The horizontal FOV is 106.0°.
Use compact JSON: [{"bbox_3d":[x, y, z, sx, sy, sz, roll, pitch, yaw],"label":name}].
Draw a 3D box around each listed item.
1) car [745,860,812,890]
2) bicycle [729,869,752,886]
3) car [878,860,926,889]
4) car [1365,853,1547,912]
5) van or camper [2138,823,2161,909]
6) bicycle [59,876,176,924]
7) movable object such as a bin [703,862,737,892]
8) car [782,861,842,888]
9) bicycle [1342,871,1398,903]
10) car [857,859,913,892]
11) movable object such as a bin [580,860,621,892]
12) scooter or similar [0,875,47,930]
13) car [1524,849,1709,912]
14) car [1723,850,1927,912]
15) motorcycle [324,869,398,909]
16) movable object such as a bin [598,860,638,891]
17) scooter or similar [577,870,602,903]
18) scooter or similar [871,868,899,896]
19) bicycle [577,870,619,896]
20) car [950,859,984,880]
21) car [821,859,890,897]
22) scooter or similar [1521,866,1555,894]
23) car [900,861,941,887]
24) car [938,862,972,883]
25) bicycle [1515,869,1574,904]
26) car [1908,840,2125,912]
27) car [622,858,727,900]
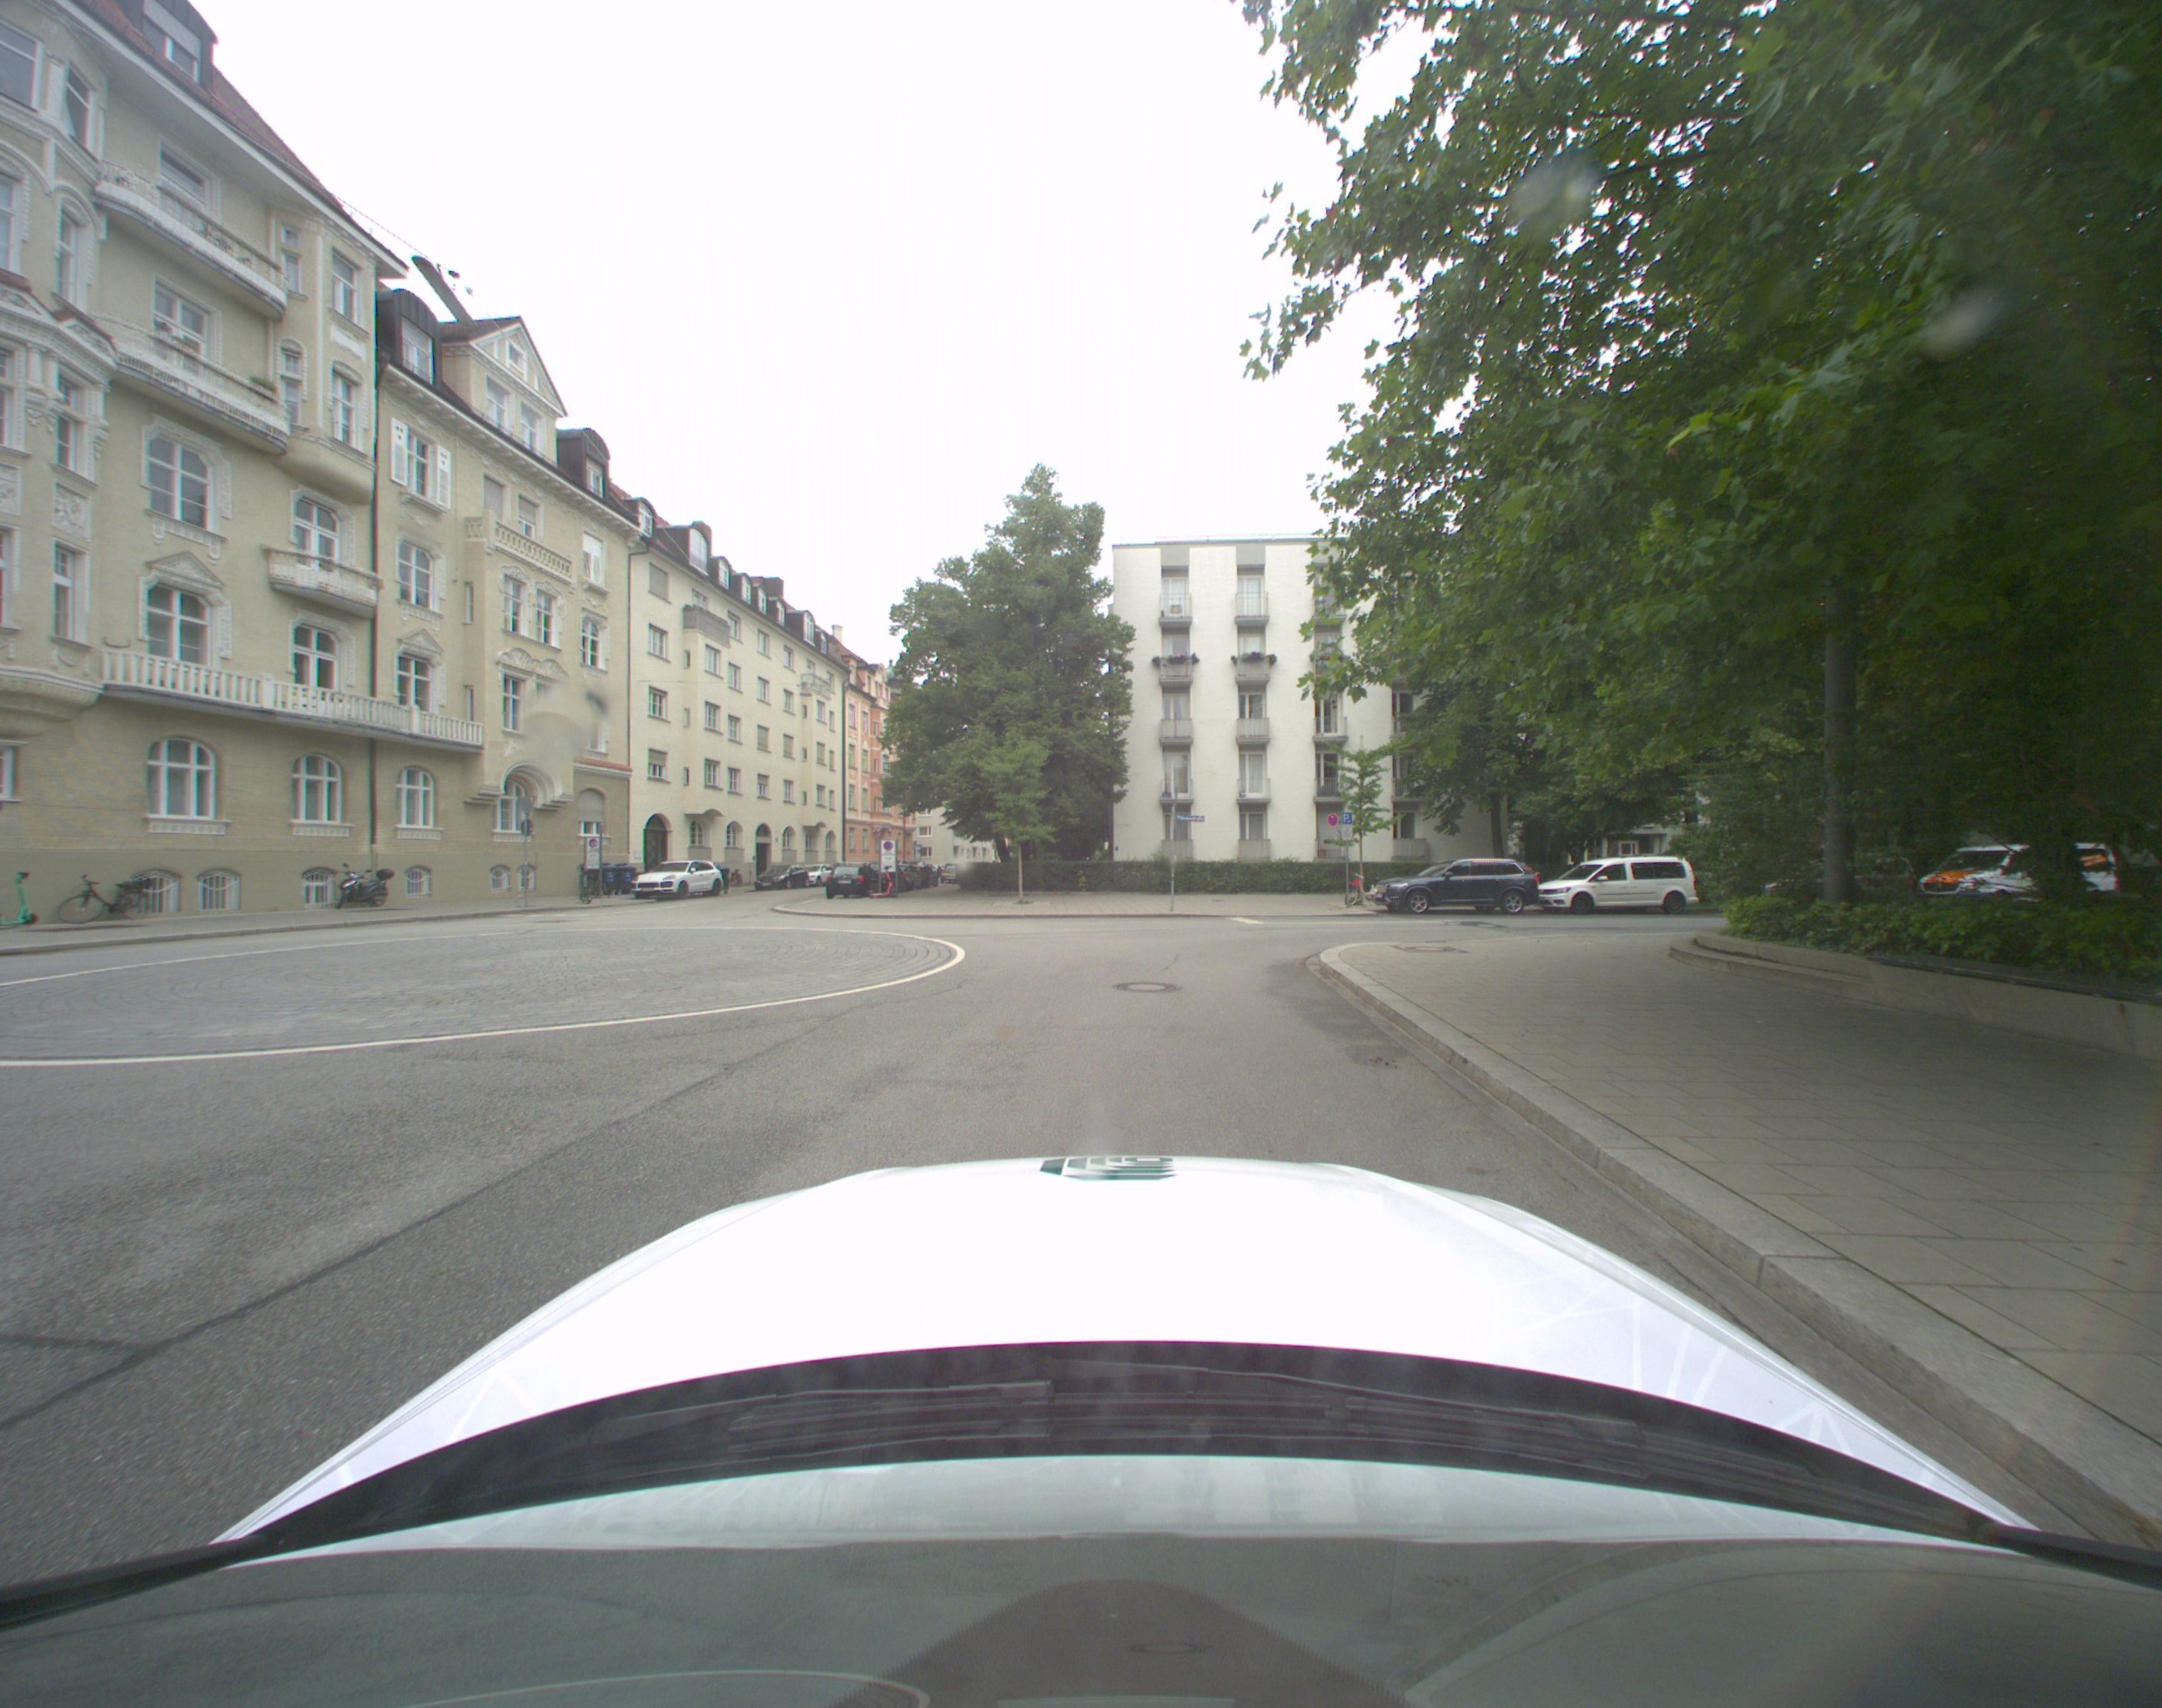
[{"bbox_3d":[-17.082,1.153,46.241,1.969,1.616,4.712,0,0,0],"label":"car"},{"bbox_3d":[-21.062,1.455,50.449,0.560,1.049,1.832,0,0,3],"label":"bicycle"},{"bbox_3d":[-9.809,1.108,44.903,1.788,1.505,4.112,-1,0,-1],"label":"car"},{"bbox_3d":[11.806,0.906,25.850,4.883,1.792,1.999,0,-2,-1],"label":"car"},{"bbox_3d":[39.847,0.405,27.537,5.978,2.945,2.004,0,-2,-4],"label":"van or camper"},{"bbox_3d":[-23.067,1.073,19.551,0.560,1.049,1.832,0,0,3],"label":"bicycle"},{"bbox_3d":[-17.848,1.129,40.240,1.085,1.425,1.175,0,-1,5],"label":"movable object such as a bin"},{"bbox_3d":[-16.806,1.242,51.122,1.966,1.581,4.414,0,0,5],"label":"car"},{"bbox_3d":[10.050,1.144,28.371,1.823,1.049,0.490,0,-1,-8],"label":"bicycle"},{"bbox_3d":[-9.645,1.044,40.316,1.788,1.505,4.232,-1,0,-1],"label":"car"},{"bbox_3d":[-21.427,0.977,36.319,1.085,1.425,1.175,0,-1,5],"label":"movable object such as a bin"},{"bbox_3d":[-22.960,1.026,17.493,0.469,1.115,1.204,1,-1,-29],"label":"scooter or similar"},{"bbox_3d":[17.085,0.840,26.128,4.820,1.919,1.834,0,-2,-2],"label":"car"},{"bbox_3d":[24.035,0.867,26.398,5.183,1.933,1.890,0,-2,-6],"label":"car"},{"bbox_3d":[-22.528,1.064,25.525,0.595,1.176,1.832,0,0,3],"label":"motorcycle"},{"bbox_3d":[-21.311,0.988,37.512,1.085,1.425,1.175,0,-1,5],"label":"movable object such as a bin"},{"bbox_3d":[-18.403,1.192,30.499,1.200,1.193,0.470,0,-1,43],"label":"scooter or similar"},{"bbox_3d":[-7.744,1.090,32.171,1.003,1.088,0.387,1,-1,-24],"label":"scooter or similar"},{"bbox_3d":[-19.799,1.176,33.426,0.560,1.049,1.832,0,0,3],"label":"bicycle"},{"bbox_3d":[-9.229,1.258,66.418,1.826,1.634,4.120,-1,0,5],"label":"car"},{"bbox_3d":[-9.602,0.977,35.053,1.814,1.505,4.419,-1,0,-1],"label":"car"},{"bbox_3d":[19.148,1.085,34.108,1.207,1.193,0.400,0,-1,1],"label":"scooter or similar"},{"bbox_3d":[-9.956,1.191,50.694,1.788,1.505,4.112,-1,0,-1],"label":"car"},{"bbox_3d":[-9.526,1.353,61.809,1.829,1.505,4.115,-1,0,1],"label":"car"},{"bbox_3d":[16.081,1.110,28.279,0.538,1.149,1.816,0,-1,-24],"label":"bicycle"},{"bbox_3d":[30.960,0.735,27.045,5.215,2.273,1.950,0,-2,-4],"label":"car"},{"bbox_3d":[-17.662,1.030,35.683,1.967,1.701,4.844,0,0,3],"label":"car"}]
